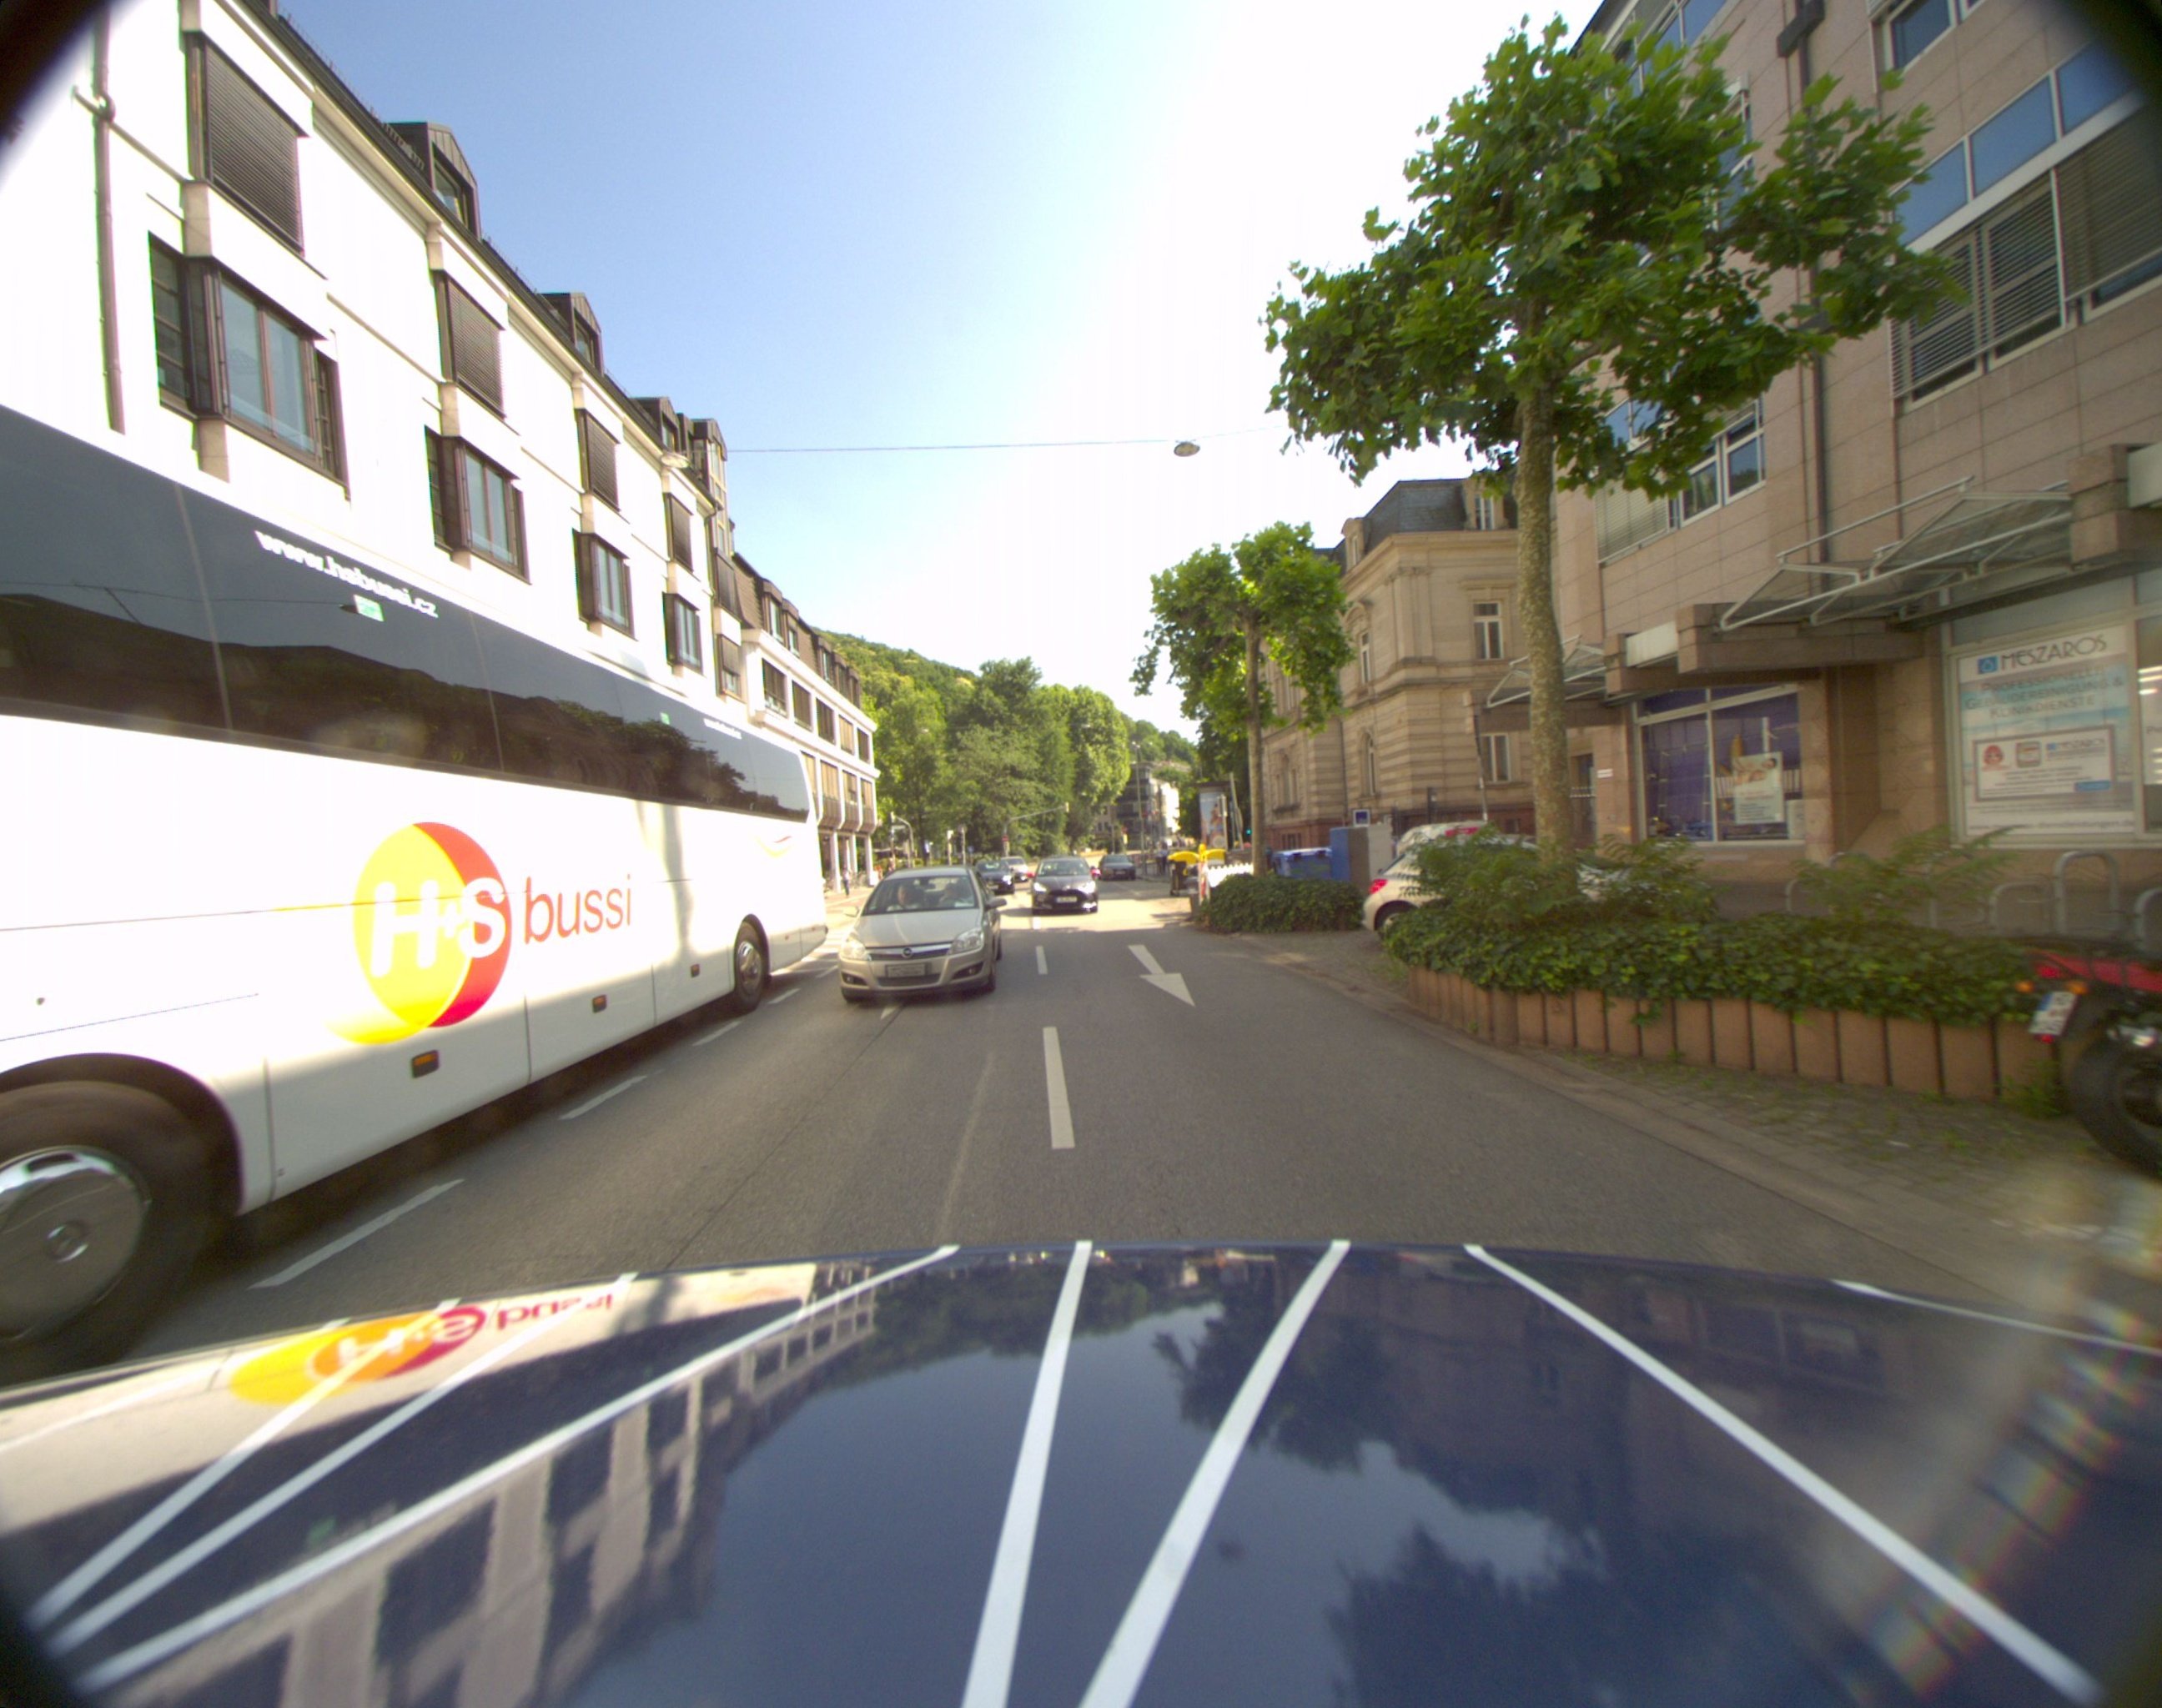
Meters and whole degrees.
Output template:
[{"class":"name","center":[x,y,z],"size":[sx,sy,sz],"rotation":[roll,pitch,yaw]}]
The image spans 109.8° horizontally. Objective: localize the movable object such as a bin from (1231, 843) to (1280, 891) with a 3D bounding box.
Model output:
[{"class":"movable object such as a bin","center":[5.733,0.421,25.048],"size":[1.212,1.442,1.364],"rotation":[-5,0,3]}]

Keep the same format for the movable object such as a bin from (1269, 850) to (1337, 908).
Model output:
[{"class":"movable object such as a bin","center":[5.472,0.604,18.825],"size":[1.212,1.292,1.079],"rotation":[-5,0,-3]}]

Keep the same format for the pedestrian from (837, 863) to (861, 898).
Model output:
[{"class":"pedestrian","center":[-11.312,1.288,37.043],"size":[0.834,1.654,0.697],"rotation":[-3,2,6]}]

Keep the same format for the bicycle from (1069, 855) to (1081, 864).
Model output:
[{"class":"bicycle","center":[-0.757,0.685,96.568],"size":[0.782,1.114,1.680],"rotation":[-2,1,29]}]

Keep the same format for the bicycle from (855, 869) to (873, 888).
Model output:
[{"class":"bicycle","center":[-13.919,1.576,48.806],"size":[0.277,1.114,2.244],"rotation":[-3,0,5]}]

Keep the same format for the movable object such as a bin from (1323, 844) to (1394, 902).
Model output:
[{"class":"movable object such as a bin","center":[6.867,0.461,18.853],"size":[1.212,1.292,1.127],"rotation":[-5,0,-3]}]

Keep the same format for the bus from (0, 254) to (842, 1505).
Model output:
[{"class":"bus","center":[-4.869,0.098,5.421],"size":[2.889,3.720,12.421],"rotation":[-5,1,-4]}]

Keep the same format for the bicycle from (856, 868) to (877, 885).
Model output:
[{"class":"bicycle","center":[-14.827,1.560,52.525],"size":[0.308,1.059,1.474],"rotation":[-2,1,32]}]

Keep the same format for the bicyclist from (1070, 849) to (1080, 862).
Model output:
[{"class":"bicyclist","center":[-0.765,0.216,96.573],"size":[0.866,1.566,0.944],"rotation":[-2,3,28]}]

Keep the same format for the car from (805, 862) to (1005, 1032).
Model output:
[{"class":"car","center":[-1.957,0.940,9.733],"size":[1.712,1.513,4.404],"rotation":[-4,0,-4]}]

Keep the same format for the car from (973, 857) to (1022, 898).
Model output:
[{"class":"car","center":[-3.547,0.938,31.907],"size":[1.849,1.421,4.209],"rotation":[-3,1,-8]}]

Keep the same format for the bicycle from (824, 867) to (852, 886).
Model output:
[{"class":"bicycle","center":[-17.446,1.609,54.566],"size":[1.862,1.309,0.529],"rotation":[-3,0,-42]}]

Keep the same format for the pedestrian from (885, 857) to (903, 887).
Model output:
[{"class":"pedestrian","center":[-12.034,1.145,48.869],"size":[0.834,1.825,0.697],"rotation":[-3,2,6]}]

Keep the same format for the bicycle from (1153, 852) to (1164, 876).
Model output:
[{"class":"bicycle","center":[4.122,0.489,40.410],"size":[0.430,1.114,2.243],"rotation":[-5,2,8]}]

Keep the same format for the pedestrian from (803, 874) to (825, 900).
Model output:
[{"class":"pedestrian","center":[-12.837,1.581,36.584],"size":[0.713,1.166,0.697],"rotation":[-3,2,6]}]

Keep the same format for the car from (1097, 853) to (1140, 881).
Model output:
[{"class":"car","center":[1.960,0.653,41.244],"size":[1.942,1.346,4.248],"rotation":[-3,0,-2]}]

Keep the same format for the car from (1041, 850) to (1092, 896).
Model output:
[{"class":"car","center":[-0.657,0.743,31.504],"size":[1.890,1.674,4.140],"rotation":[-3,0,-3]}]

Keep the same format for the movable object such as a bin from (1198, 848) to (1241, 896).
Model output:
[{"class":"movable object such as a bin","center":[4.581,0.578,25.227],"size":[1.126,1.442,1.439],"rotation":[-5,0,3]}]

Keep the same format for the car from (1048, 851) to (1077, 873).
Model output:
[{"class":"car","center":[-1.470,0.573,57.806],"size":[1.942,1.421,4.547],"rotation":[-3,1,-3]}]

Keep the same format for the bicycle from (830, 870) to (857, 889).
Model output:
[{"class":"bicycle","center":[-14.700,1.555,47.086],"size":[1.574,1.114,0.277],"rotation":[-2,1,4]}]

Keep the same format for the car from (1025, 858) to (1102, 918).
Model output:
[{"class":"car","center":[-0.583,0.867,21.122],"size":[1.811,1.443,3.952],"rotation":[-2,0,-5]}]

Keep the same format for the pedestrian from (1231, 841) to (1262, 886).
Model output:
[{"class":"pedestrian","center":[6.507,0.366,29.862],"size":[0.892,1.715,0.748],"rotation":[-4,1,-10]}]

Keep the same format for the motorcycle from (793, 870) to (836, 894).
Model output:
[{"class":"motorcycle","center":[-15.266,1.607,43.506],"size":[2.238,1.283,0.950],"rotation":[-2,2,25]}]

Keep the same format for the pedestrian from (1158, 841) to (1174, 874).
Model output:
[{"class":"pedestrian","center":[4.577,0.175,40.861],"size":[0.696,1.686,0.690],"rotation":[-3,2,0]}]

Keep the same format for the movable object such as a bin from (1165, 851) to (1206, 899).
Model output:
[{"class":"movable object such as a bin","center":[3.455,0.685,25.277],"size":[1.126,1.442,1.439],"rotation":[-5,0,3]}]

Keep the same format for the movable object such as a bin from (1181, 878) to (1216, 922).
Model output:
[{"class":"movable object such as a bin","center":[2.634,1.023,16.980],"size":[0.556,0.934,0.499],"rotation":[-2,0,-29]}]

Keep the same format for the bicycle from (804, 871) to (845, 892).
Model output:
[{"class":"bicycle","center":[-15.287,1.618,45.401],"size":[2.244,1.090,0.277],"rotation":[-4,1,-16]}]

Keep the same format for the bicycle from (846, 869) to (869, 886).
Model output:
[{"class":"bicycle","center":[-15.045,1.593,51.163],"size":[0.376,1.059,1.474],"rotation":[-1,1,44]}]

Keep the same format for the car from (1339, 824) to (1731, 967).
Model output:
[{"class":"car","center":[5.800,0.535,10.011],"size":[4.048,1.486,1.939],"rotation":[-5,0,38]}]

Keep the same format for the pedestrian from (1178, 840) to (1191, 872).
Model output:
[{"class":"pedestrian","center":[5.496,0.105,40.338],"size":[0.550,1.656,0.937],"rotation":[-3,2,6]}]

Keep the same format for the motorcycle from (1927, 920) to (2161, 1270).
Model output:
[{"class":"motorcycle","center":[4.911,0.862,2.794],"size":[2.174,1.163,0.922],"rotation":[-4,0,25]}]

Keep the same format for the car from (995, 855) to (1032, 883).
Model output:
[{"class":"car","center":[-3.928,0.830,45.033],"size":[1.942,1.421,4.341],"rotation":[-3,1,-3]}]

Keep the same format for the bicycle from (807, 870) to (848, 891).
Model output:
[{"class":"bicycle","center":[-15.355,1.594,46.016],"size":[2.243,1.114,0.277],"rotation":[-4,1,-10]}]

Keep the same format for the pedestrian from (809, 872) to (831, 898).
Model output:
[{"class":"pedestrian","center":[-12.855,1.533,37.440],"size":[0.713,1.210,0.697],"rotation":[-3,2,6]}]

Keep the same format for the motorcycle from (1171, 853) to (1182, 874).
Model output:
[{"class":"motorcycle","center":[5.072,0.481,40.345],"size":[0.454,0.992,2.161],"rotation":[-5,1,7]}]

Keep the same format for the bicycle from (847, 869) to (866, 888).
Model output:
[{"class":"bicycle","center":[-14.338,1.573,48.540],"size":[0.277,1.114,2.244],"rotation":[-3,0,5]}]

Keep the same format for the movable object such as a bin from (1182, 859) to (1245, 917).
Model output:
[{"class":"movable object such as a bin","center":[3.216,0.808,18.540],"size":[1.280,1.292,0.853],"rotation":[-4,1,-3]}]
